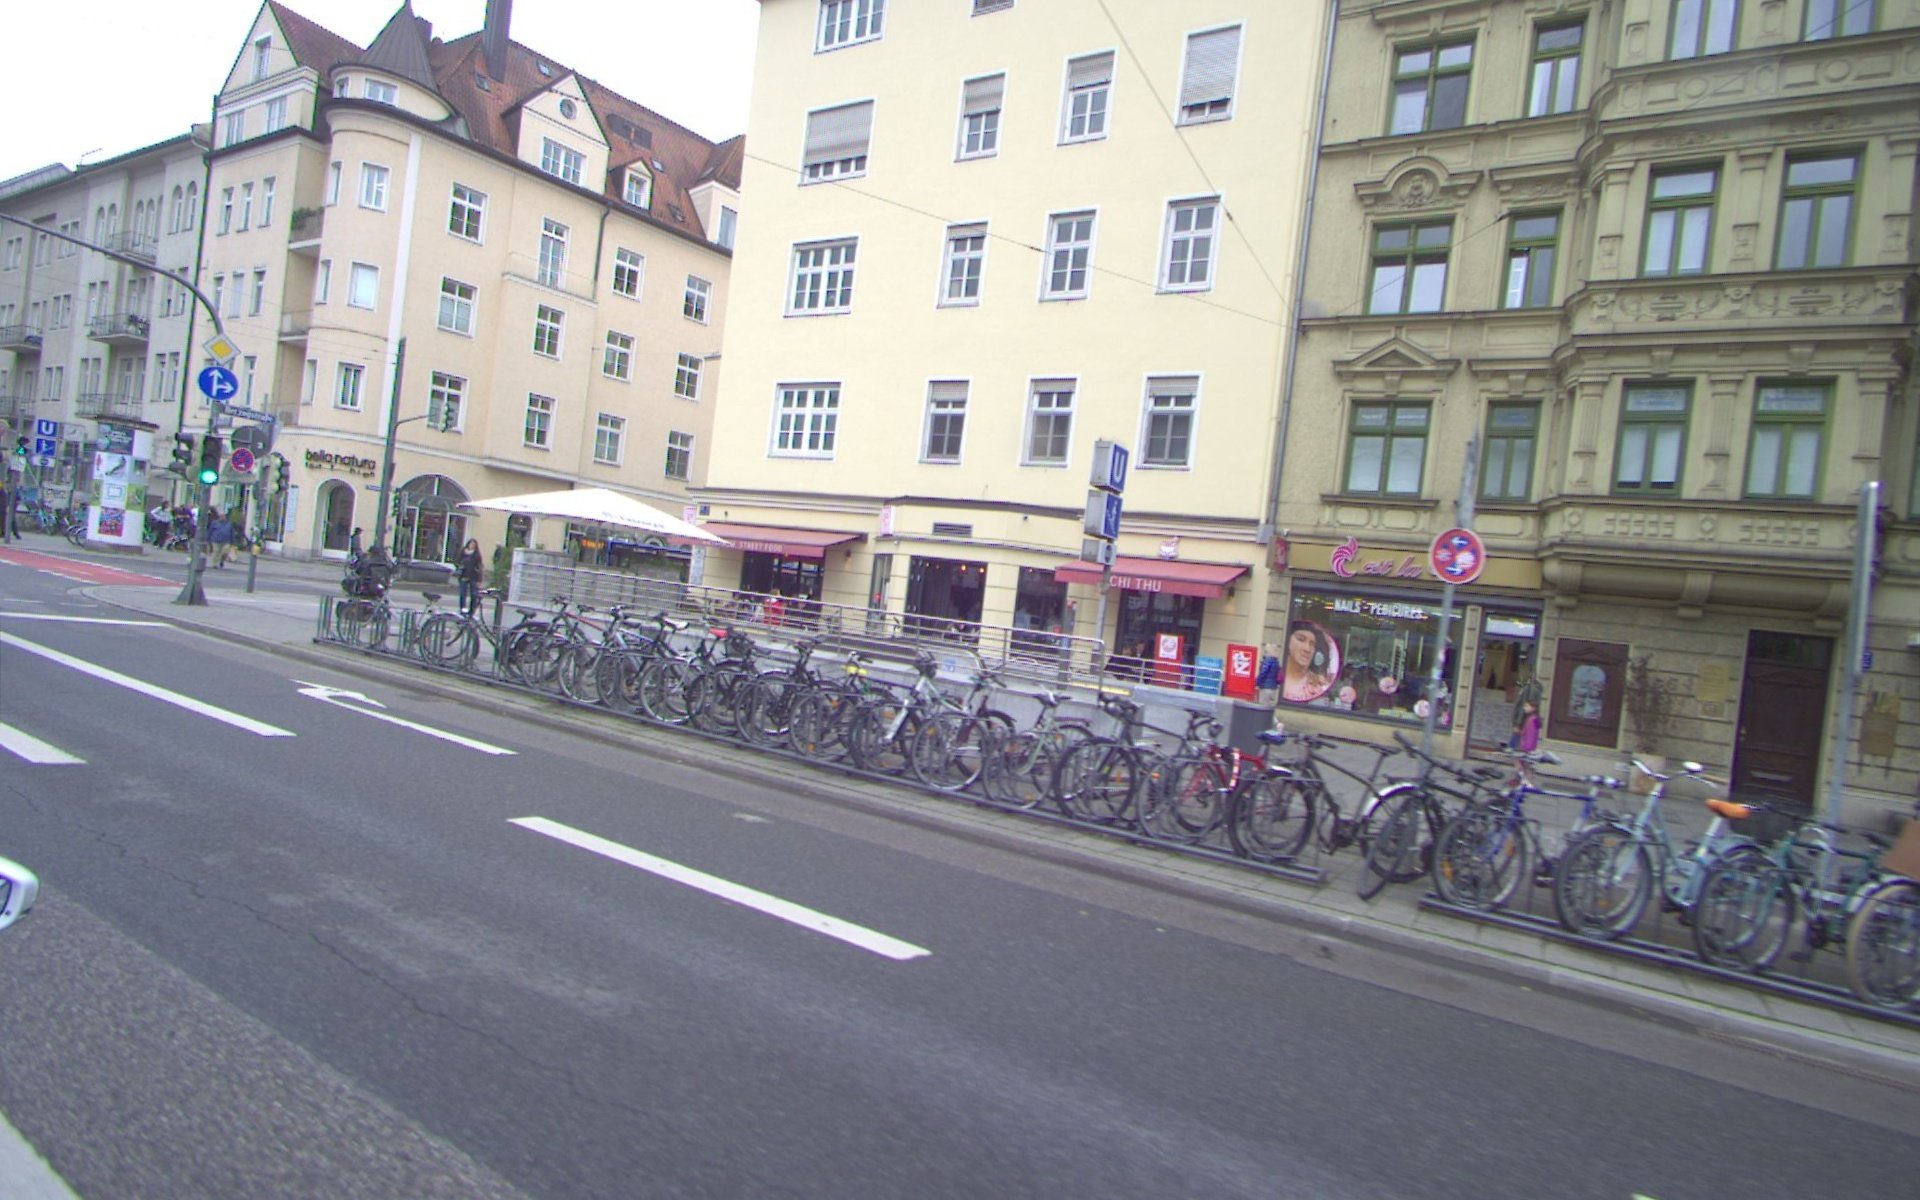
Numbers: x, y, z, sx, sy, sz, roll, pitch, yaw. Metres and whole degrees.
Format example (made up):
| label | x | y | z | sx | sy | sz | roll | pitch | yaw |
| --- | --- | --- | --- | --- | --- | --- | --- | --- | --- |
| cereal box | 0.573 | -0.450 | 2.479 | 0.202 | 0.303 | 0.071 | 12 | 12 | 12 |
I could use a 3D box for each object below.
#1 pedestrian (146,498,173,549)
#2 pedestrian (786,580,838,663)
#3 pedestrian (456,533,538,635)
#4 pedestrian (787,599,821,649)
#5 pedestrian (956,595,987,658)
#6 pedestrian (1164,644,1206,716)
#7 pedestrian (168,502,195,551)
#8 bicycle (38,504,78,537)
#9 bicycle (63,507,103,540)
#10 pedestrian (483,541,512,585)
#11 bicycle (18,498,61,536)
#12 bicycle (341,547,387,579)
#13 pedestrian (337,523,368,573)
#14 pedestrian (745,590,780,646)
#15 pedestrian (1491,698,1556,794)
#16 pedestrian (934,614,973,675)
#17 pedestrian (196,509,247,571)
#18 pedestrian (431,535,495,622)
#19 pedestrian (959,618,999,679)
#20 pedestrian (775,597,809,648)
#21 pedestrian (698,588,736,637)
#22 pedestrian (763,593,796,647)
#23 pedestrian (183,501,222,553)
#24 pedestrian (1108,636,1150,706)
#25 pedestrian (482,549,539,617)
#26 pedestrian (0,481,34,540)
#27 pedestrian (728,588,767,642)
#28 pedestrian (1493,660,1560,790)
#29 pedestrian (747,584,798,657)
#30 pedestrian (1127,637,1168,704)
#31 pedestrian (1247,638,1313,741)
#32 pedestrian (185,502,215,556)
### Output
| label | x | y | z | sx | sy | sz | roll | pitch | yaw |
| --- | --- | --- | --- | --- | --- | --- | --- | --- | --- |
| pedestrian | -28.111 | -2.691 | 35.327 | 0.562 | 1.693 | 0.556 | 7 | 4 | -36 |
| pedestrian | -3.117 | 0.457 | 21.220 | 0.666 | 1.653 | 0.615 | 7 | 1 | 32 |
| pedestrian | -8.559 | -0.279 | 18.618 | 0.842 | 1.765 | 0.884 | 7 | 1 | 15 |
| pedestrian | -3.898 | 0.607 | 25.163 | 0.518 | 1.180 | 0.479 | 7 | 1 | 30 |
| pedestrian | 0.284 | 0.624 | 23.833 | 0.542 | 1.414 | 0.543 | 7 | 1 | 5 |
| pedestrian | 4.480 | 1.579 | 20.003 | 0.543 | 1.348 | 0.495 | 7 | 1 | 32 |
| pedestrian | -27.863 | -2.631 | 35.991 | 0.559 | 1.631 | 0.560 | 6 | 4 | -45 |
| bicycle | -31.405 | -2.776 | 35.028 | 1.835 | 0.987 | 0.495 | 7 | 1 | 32 |
| bicycle | -31.057 | -2.701 | 35.608 | 1.835 | 0.987 | 0.495 | 7 | 1 | 32 |
| pedestrian | -19.476 | -1.560 | 42.344 | 0.736 | 1.727 | 0.679 | 12 | 4 | 41 |
| bicycle | -31.677 | -2.855 | 34.610 | 1.835 | 1.121 | 0.567 | 7 | 1 | 32 |
| bicycle | -21.628 | -1.332 | 36.541 | 0.244 | 1.046 | 1.584 | 7 | 0 | 18 |
| pedestrian | -22.657 | -1.925 | 37.510 | 0.736 | 1.707 | 0.679 | 12 | 4 | 43 |
| pedestrian | -4.931 | 0.454 | 25.143 | 0.518 | 1.315 | 0.479 | 7 | 1 | 30 |
| pedestrian | 8.000 | 2.053 | 14.279 | 0.655 | 1.237 | 0.601 | 7 | 1 | 32 |
| pedestrian | -0.154 | 1.022 | 23.022 | 0.543 | 1.305 | 0.541 | 7 | 1 | 32 |
| pedestrian | -23.183 | -1.895 | 31.577 | 1.049 | 1.777 | 0.933 | 7 | 1 | 39 |
| pedestrian | -10.448 | -0.438 | 21.181 | 0.753 | 1.716 | 0.761 | 7 | 1 | 7 |
| pedestrian | 0.430 | 1.097 | 22.712 | 0.543 | 1.305 | 0.541 | 7 | 1 | 32 |
| pedestrian | -4.112 | 0.555 | 24.674 | 0.518 | 1.180 | 0.479 | 7 | 1 | 30 |
| pedestrian | -6.396 | 0.339 | 26.519 | 0.691 | 1.196 | 0.515 | 7 | 1 | 30 |
| pedestrian | -4.620 | 0.516 | 25.782 | 0.518 | 1.315 | 0.479 | 7 | 1 | 30 |
| pedestrian | -27.335 | -2.631 | 36.295 | 0.720 | 1.727 | 0.645 | 9 | 3 | 3 |
| pedestrian | 3.354 | 1.412 | 19.974 | 0.543 | 1.305 | 0.495 | 7 | 1 | 32 |
| pedestrian | -11.159 | -0.421 | 24.993 | 0.874 | 1.560 | 0.732 | 7 | 1 | 17 |
| pedestrian | -29.343 | -2.779 | 30.987 | 0.825 | 1.712 | 0.815 | 6 | 1 | -21 |
| pedestrian | -5.504 | 0.392 | 26.084 | 0.691 | 1.308 | 0.515 | 7 | 1 | 30 |
| pedestrian | 8.270 | 1.806 | 14.679 | 0.655 | 1.761 | 0.601 | 7 | 1 | 32 |
| pedestrian | -3.945 | 0.427 | 21.140 | 0.606 | 1.440 | 0.676 | 7 | 1 | 32 |
| pedestrian | 3.857 | 1.451 | 20.660 | 0.543 | 1.305 | 0.495 | 7 | 1 | 32 |
| pedestrian | 5.556 | 1.536 | 17.446 | 0.773 | 1.653 | 0.711 | 7 | 1 | 32 |
| pedestrian | -26.848 | -2.515 | 35.545 | 0.645 | 1.774 | 0.630 | 7 | 4 | -36 |
